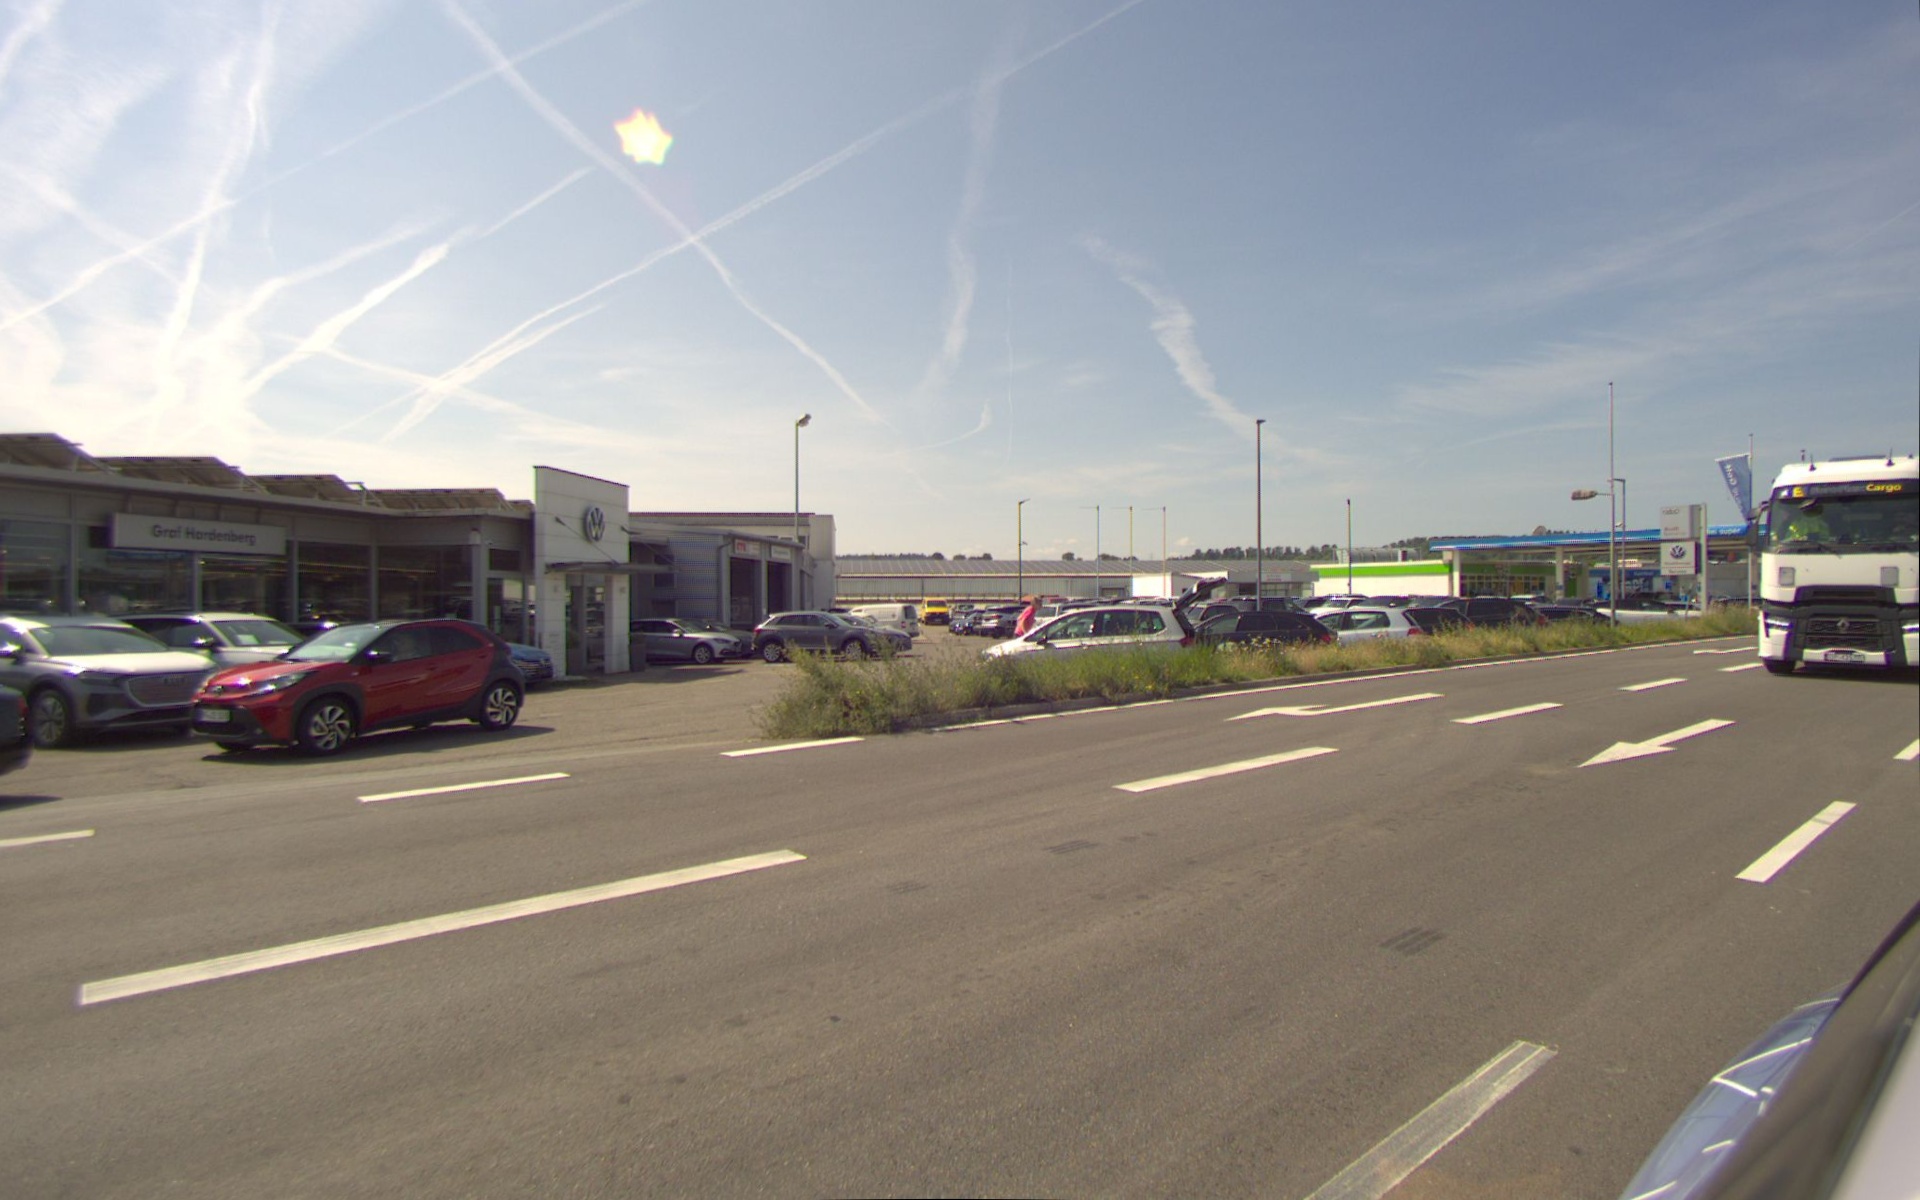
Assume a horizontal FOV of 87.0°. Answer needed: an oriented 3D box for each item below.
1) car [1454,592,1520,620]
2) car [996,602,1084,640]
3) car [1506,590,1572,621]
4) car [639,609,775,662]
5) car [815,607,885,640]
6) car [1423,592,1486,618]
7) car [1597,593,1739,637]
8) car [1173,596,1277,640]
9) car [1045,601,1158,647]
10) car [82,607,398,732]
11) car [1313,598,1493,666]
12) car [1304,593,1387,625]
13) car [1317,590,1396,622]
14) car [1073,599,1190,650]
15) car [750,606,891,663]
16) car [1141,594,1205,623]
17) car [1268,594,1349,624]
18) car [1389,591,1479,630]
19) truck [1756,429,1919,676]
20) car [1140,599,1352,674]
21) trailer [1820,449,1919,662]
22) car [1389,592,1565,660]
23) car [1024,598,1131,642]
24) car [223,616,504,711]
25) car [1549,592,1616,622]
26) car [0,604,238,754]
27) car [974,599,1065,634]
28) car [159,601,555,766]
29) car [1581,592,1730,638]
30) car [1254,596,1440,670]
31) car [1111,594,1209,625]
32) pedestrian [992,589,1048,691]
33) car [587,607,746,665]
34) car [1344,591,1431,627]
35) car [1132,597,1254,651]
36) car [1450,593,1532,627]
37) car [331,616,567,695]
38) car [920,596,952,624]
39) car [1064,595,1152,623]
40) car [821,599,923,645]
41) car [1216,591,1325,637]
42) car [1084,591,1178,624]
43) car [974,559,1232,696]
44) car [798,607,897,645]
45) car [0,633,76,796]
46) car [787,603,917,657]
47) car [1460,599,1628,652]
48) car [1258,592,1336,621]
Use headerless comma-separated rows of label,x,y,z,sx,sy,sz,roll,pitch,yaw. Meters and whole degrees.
car,31.565,0.332,60.599,4.158,1.600,1.776,0,1,-35
car,3.873,0.968,48.532,4.464,1.675,1.771,0,1,-45
car,33.573,0.311,58.628,4.179,1.734,1.714,0,1,-35
car,-8.469,1.165,34.056,4.095,1.675,1.774,0,1,4
car,-6.364,1.314,58.380,3.899,1.751,1.953,1,1,43
car,30.796,0.289,62.951,4.242,1.600,1.722,0,1,-35
car,28.923,0.587,41.528,4.490,1.675,1.761,1,1,25
car,10.708,0.673,40.823,4.352,1.675,1.775,0,1,-38
car,5.637,0.920,40.102,4.452,1.675,1.776,0,1,-36
car,-11.136,0.996,15.761,3.939,1.692,1.914,1,1,13
car,11.195,0.770,25.875,3.941,1.572,1.768,1,1,14
car,19.443,0.431,50.965,4.452,1.545,1.691,0,1,-35
car,22.079,0.302,56.312,4.449,1.675,1.777,0,1,-32
car,6.258,0.842,36.708,4.464,1.675,1.964,0,1,-45
car,-4.264,1.037,31.228,4.008,1.629,1.690,1,-1,8
car,13.532,0.498,64.638,2.025,1.750,4.548,0,1,-17
car,18.263,0.433,52.998,4.452,1.459,1.776,0,1,-35
car,21.750,0.456,46.404,4.452,1.675,1.776,0,1,-35
truck,17.427,-0.801,19.099,5.935,4.037,2.646,0,1,-40
car,6.196,0.739,22.122,4.285,1.470,1.766,1,1,18
trailer,23.467,-0.923,24.072,11.089,4.280,2.613,0,1,-39
car,13.821,0.650,27.316,3.946,1.675,1.766,1,1,17
car,5.008,0.790,42.891,4.452,1.751,1.823,0,1,-35
car,-10.665,1.088,18.241,4.142,1.475,1.890,1,1,9
car,34.857,0.351,56.659,4.069,1.600,1.776,0,1,-35
car,-11.889,0.946,13.489,3.974,1.692,1.765,1,1,20
car,3.015,0.796,50.919,4.453,1.675,1.776,0,1,-36
car,-7.338,0.898,12.798,1.756,1.675,4.044,-2,0,24
car,27.023,0.540,39.496,4.487,1.675,1.762,1,1,24
car,9.085,0.733,23.947,3.953,1.578,1.700,1,1,22
car,9.804,0.464,49.606,4.390,1.449,1.827,0,1,-19
pedestrian,1.184,0.762,19.862,0.974,1.935,0.740,1,0,16
car,-9.125,1.087,31.660,4.468,1.675,1.774,0,1,4
car,20.599,0.410,48.738,4.452,1.675,1.776,0,1,-35
car,8.090,0.773,34.872,4.633,1.675,1.904,0,1,-45
car,26.185,0.460,49.845,4.452,1.600,1.776,0,1,-35
car,-10.417,1.085,20.772,4.046,1.428,1.819,1,1,9
car,-1.843,0.711,75.651,2.167,1.955,4.164,0,1,-4
car,8.154,0.479,55.876,4.442,1.493,1.827,0,1,-19
car,-4.132,0.994,47.576,4.484,1.973,1.763,1,1,22
car,11.967,0.499,38.898,4.454,1.675,1.775,0,1,-38
car,8.778,0.380,51.931,4.442,1.603,1.827,0,1,-19
car,2.560,0.410,18.077,4.295,2.240,1.752,1,1,20
car,-4.997,1.118,44.942,4.028,1.510,1.764,1,1,22
car,-9.081,0.948,6.771,1.931,1.350,4.808,-4,-3,4
car,-3.576,0.978,33.869,4.009,1.675,1.772,1,1,9
car,19.121,0.805,33.372,4.479,1.600,1.765,1,1,19
car,20.301,0.401,60.907,4.444,1.675,1.779,0,1,-25
